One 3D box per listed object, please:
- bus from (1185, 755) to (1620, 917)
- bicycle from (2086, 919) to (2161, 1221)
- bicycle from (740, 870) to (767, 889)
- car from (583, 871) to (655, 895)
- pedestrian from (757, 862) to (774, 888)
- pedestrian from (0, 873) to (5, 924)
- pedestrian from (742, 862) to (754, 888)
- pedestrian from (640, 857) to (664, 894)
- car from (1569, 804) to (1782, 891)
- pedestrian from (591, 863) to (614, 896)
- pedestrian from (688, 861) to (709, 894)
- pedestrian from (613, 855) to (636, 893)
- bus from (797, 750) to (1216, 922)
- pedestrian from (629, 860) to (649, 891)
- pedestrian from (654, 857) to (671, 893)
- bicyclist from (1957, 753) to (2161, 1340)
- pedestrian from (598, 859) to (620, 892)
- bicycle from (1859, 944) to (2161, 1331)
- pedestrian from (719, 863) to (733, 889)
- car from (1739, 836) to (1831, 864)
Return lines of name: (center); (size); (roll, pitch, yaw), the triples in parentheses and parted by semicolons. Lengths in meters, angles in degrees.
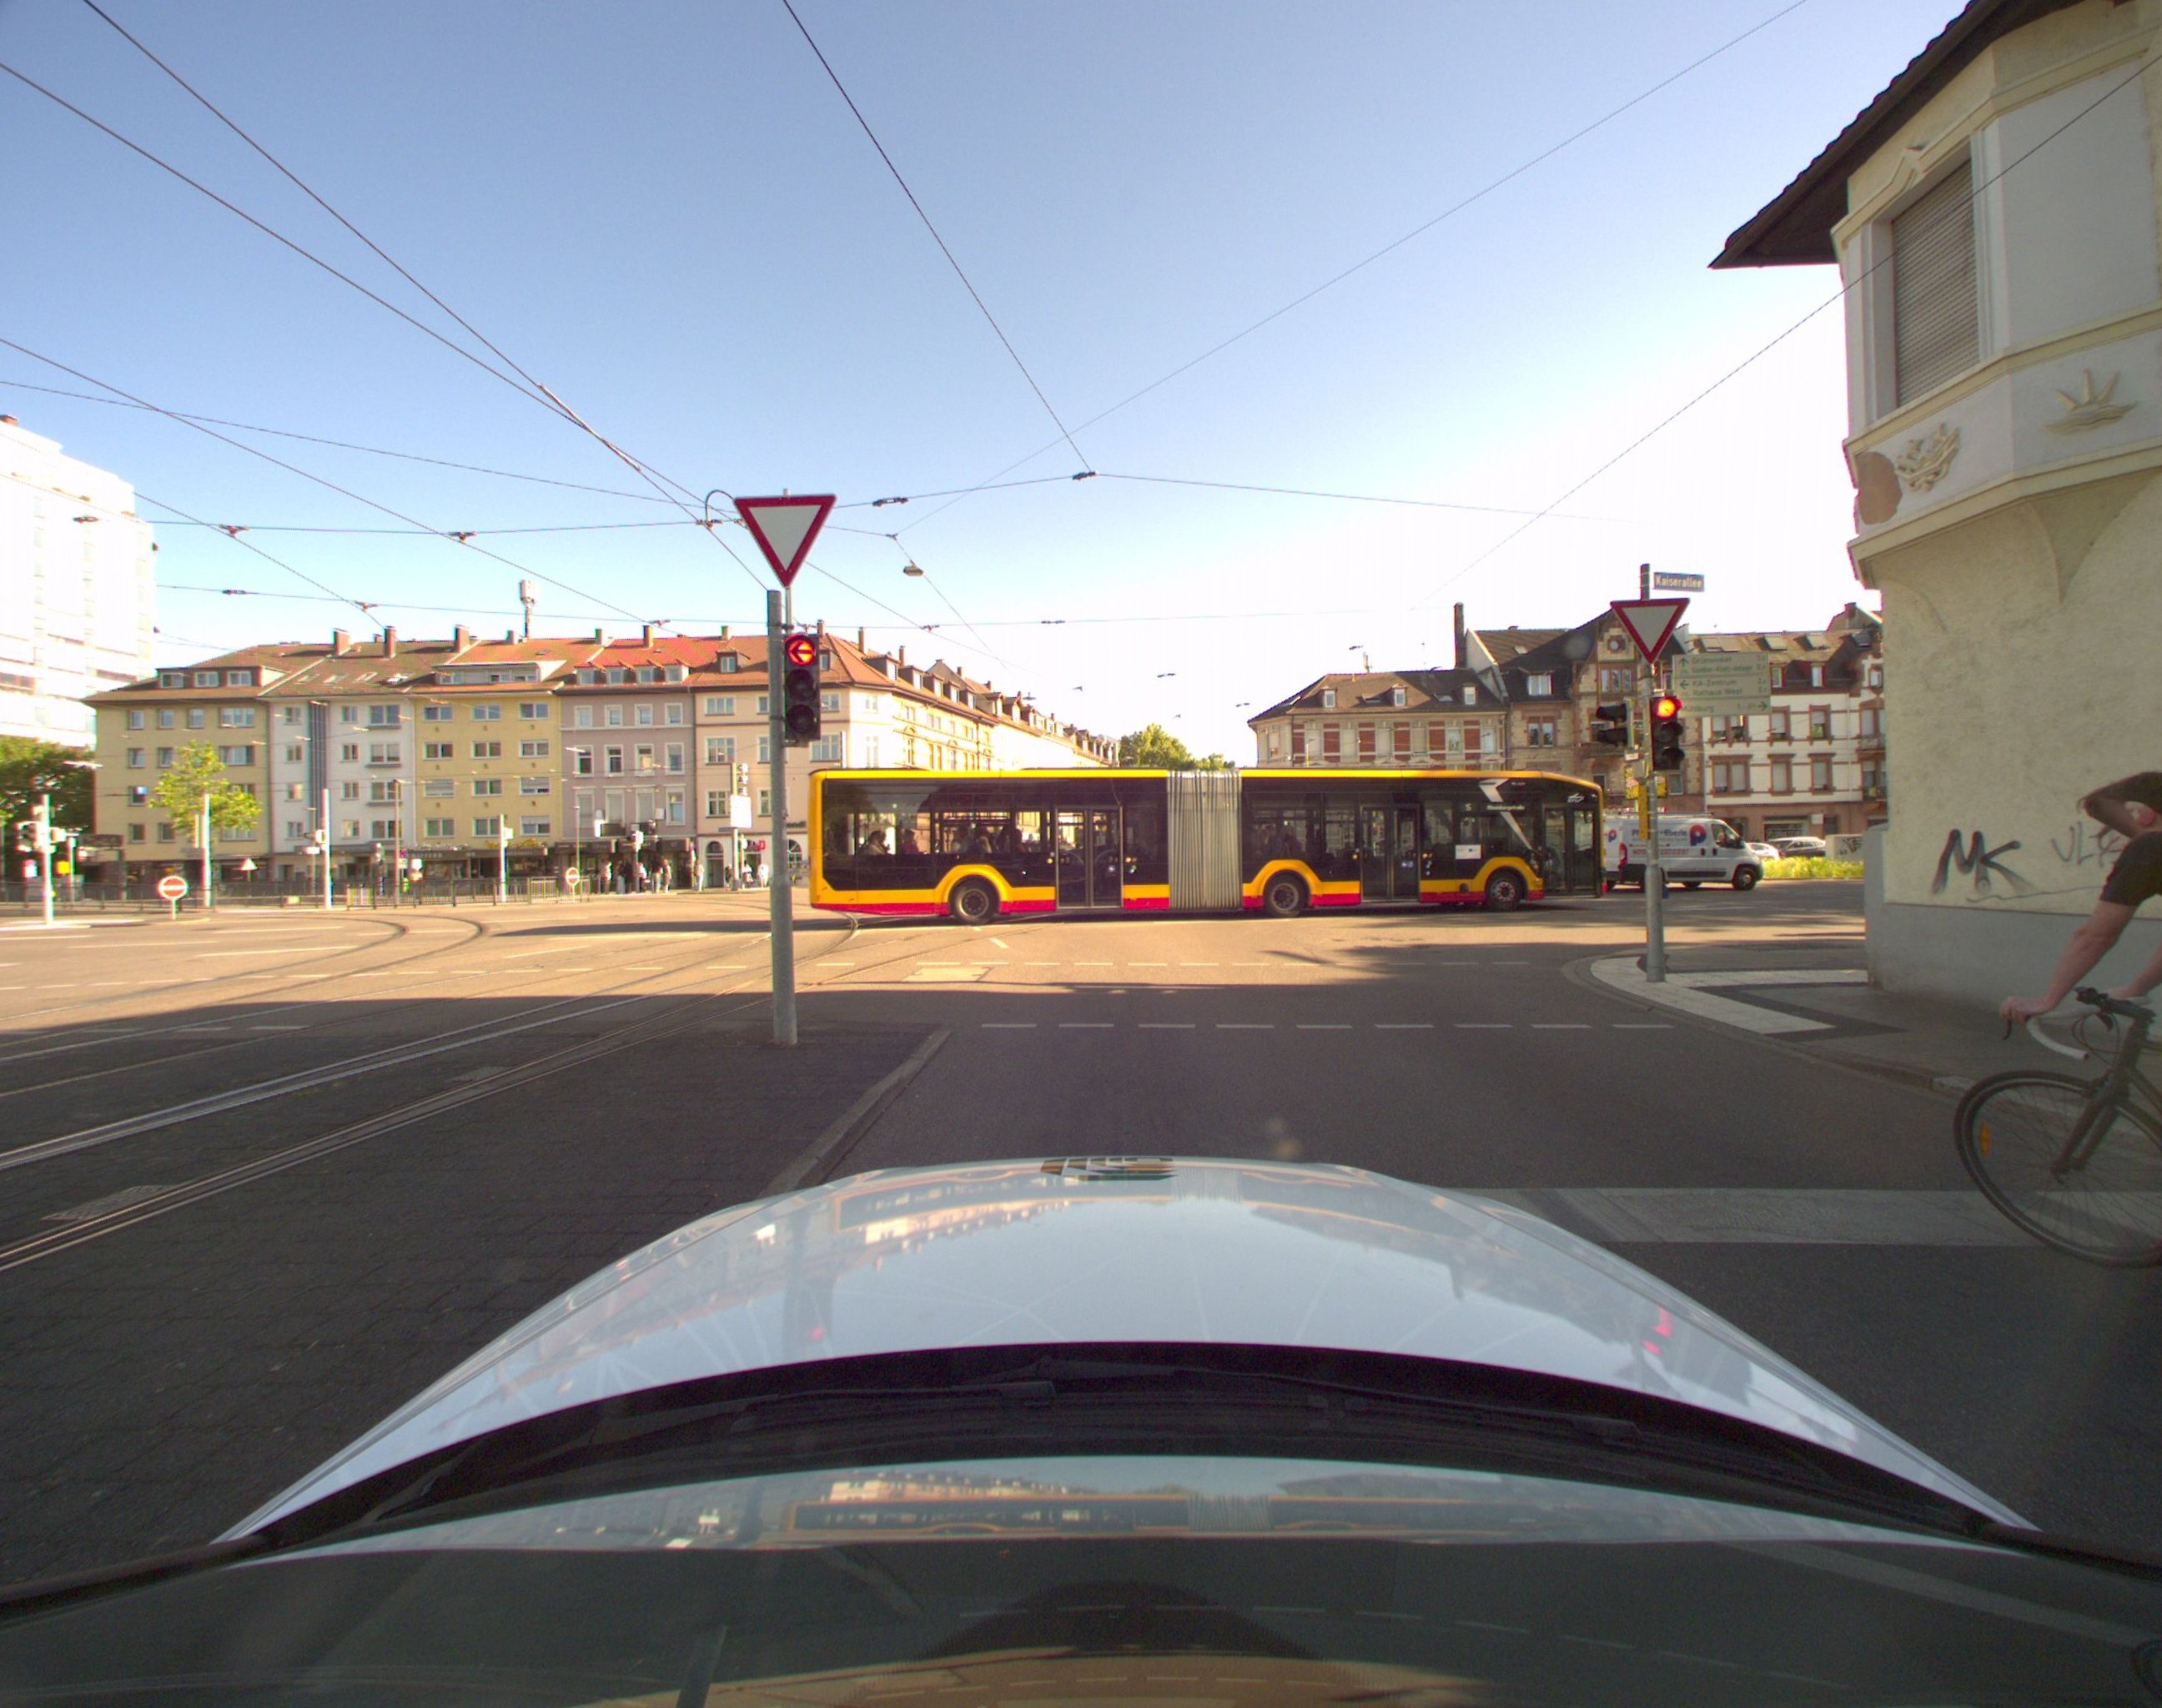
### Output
bus: (7.361, -0.430, 19.214); (9.400, 3.457, 2.774); (0, 1, -7)
bicycle: (4.507, 0.857, 2.484); (0.568, 1.165, 1.890); (-1, 0, 2)
bicycle: (-23.062, 1.762, 57.363); (1.714, 1.276, 0.385); (-1, 0, -16)
car: (-30.340, 1.898, 53.532); (3.711, 1.491, 1.820); (0, -1, 4)
pedestrian: (-21.542, 1.424, 55.594); (0.907, 1.682, 0.742); (-1, 0, -4)
pedestrian: (-34.929, 1.437, 25.733); (0.770, 1.611, 0.794); (-1, 0, -5)
pedestrian: (-22.563, 1.420, 55.164); (0.744, 1.682, 0.623); (-1, 0, -23)
pedestrian: (-21.548, 1.079, 40.925); (0.764, 1.829, 0.723); (-1, 0, 1)
car: (17.830, -0.205, 24.560); (5.104, 2.432, 2.077); (-1, -1, -6)
pedestrian: (-24.899, 1.305, 42.376); (0.764, 1.682, 0.628); (-1, 0, 1)
pedestrian: (-19.878, 1.210, 42.290); (0.738, 1.682, 0.628); (-1, 0, 1)
pedestrian: (-22.840, 1.006, 40.762); (0.625, 1.850, 0.778); (-1, 0, 1)
bus: (-1.536, -0.393, 18.180); (8.603, 3.457, 2.781); (0, 1, -6)
pedestrian: (-22.915, 1.089, 42.199); (0.697, 1.581, 0.559); (-1, 0, -4)
pedestrian: (-21.605, 1.077, 42.007); (0.559, 1.786, 0.559); (-1, 0, -4)
bicyclist: (3.562, 0.575, 2.496); (0.649, 1.767, 0.995); (-1, 0, 2)
pedestrian: (-23.676, 1.057, 40.881); (0.738, 1.635, 0.572); (-1, 0, 1)
bicycle: (3.563, 0.918, 2.498); (0.568, 1.058, 1.890); (-1, 0, 2)
pedestrian: (-23.069, 1.407, 52.928); (0.744, 1.682, 0.623); (-1, 0, -23)
car: (45.298, -0.248, 52.476); (4.239, 1.622, 1.999); (-1, 0, -1)
